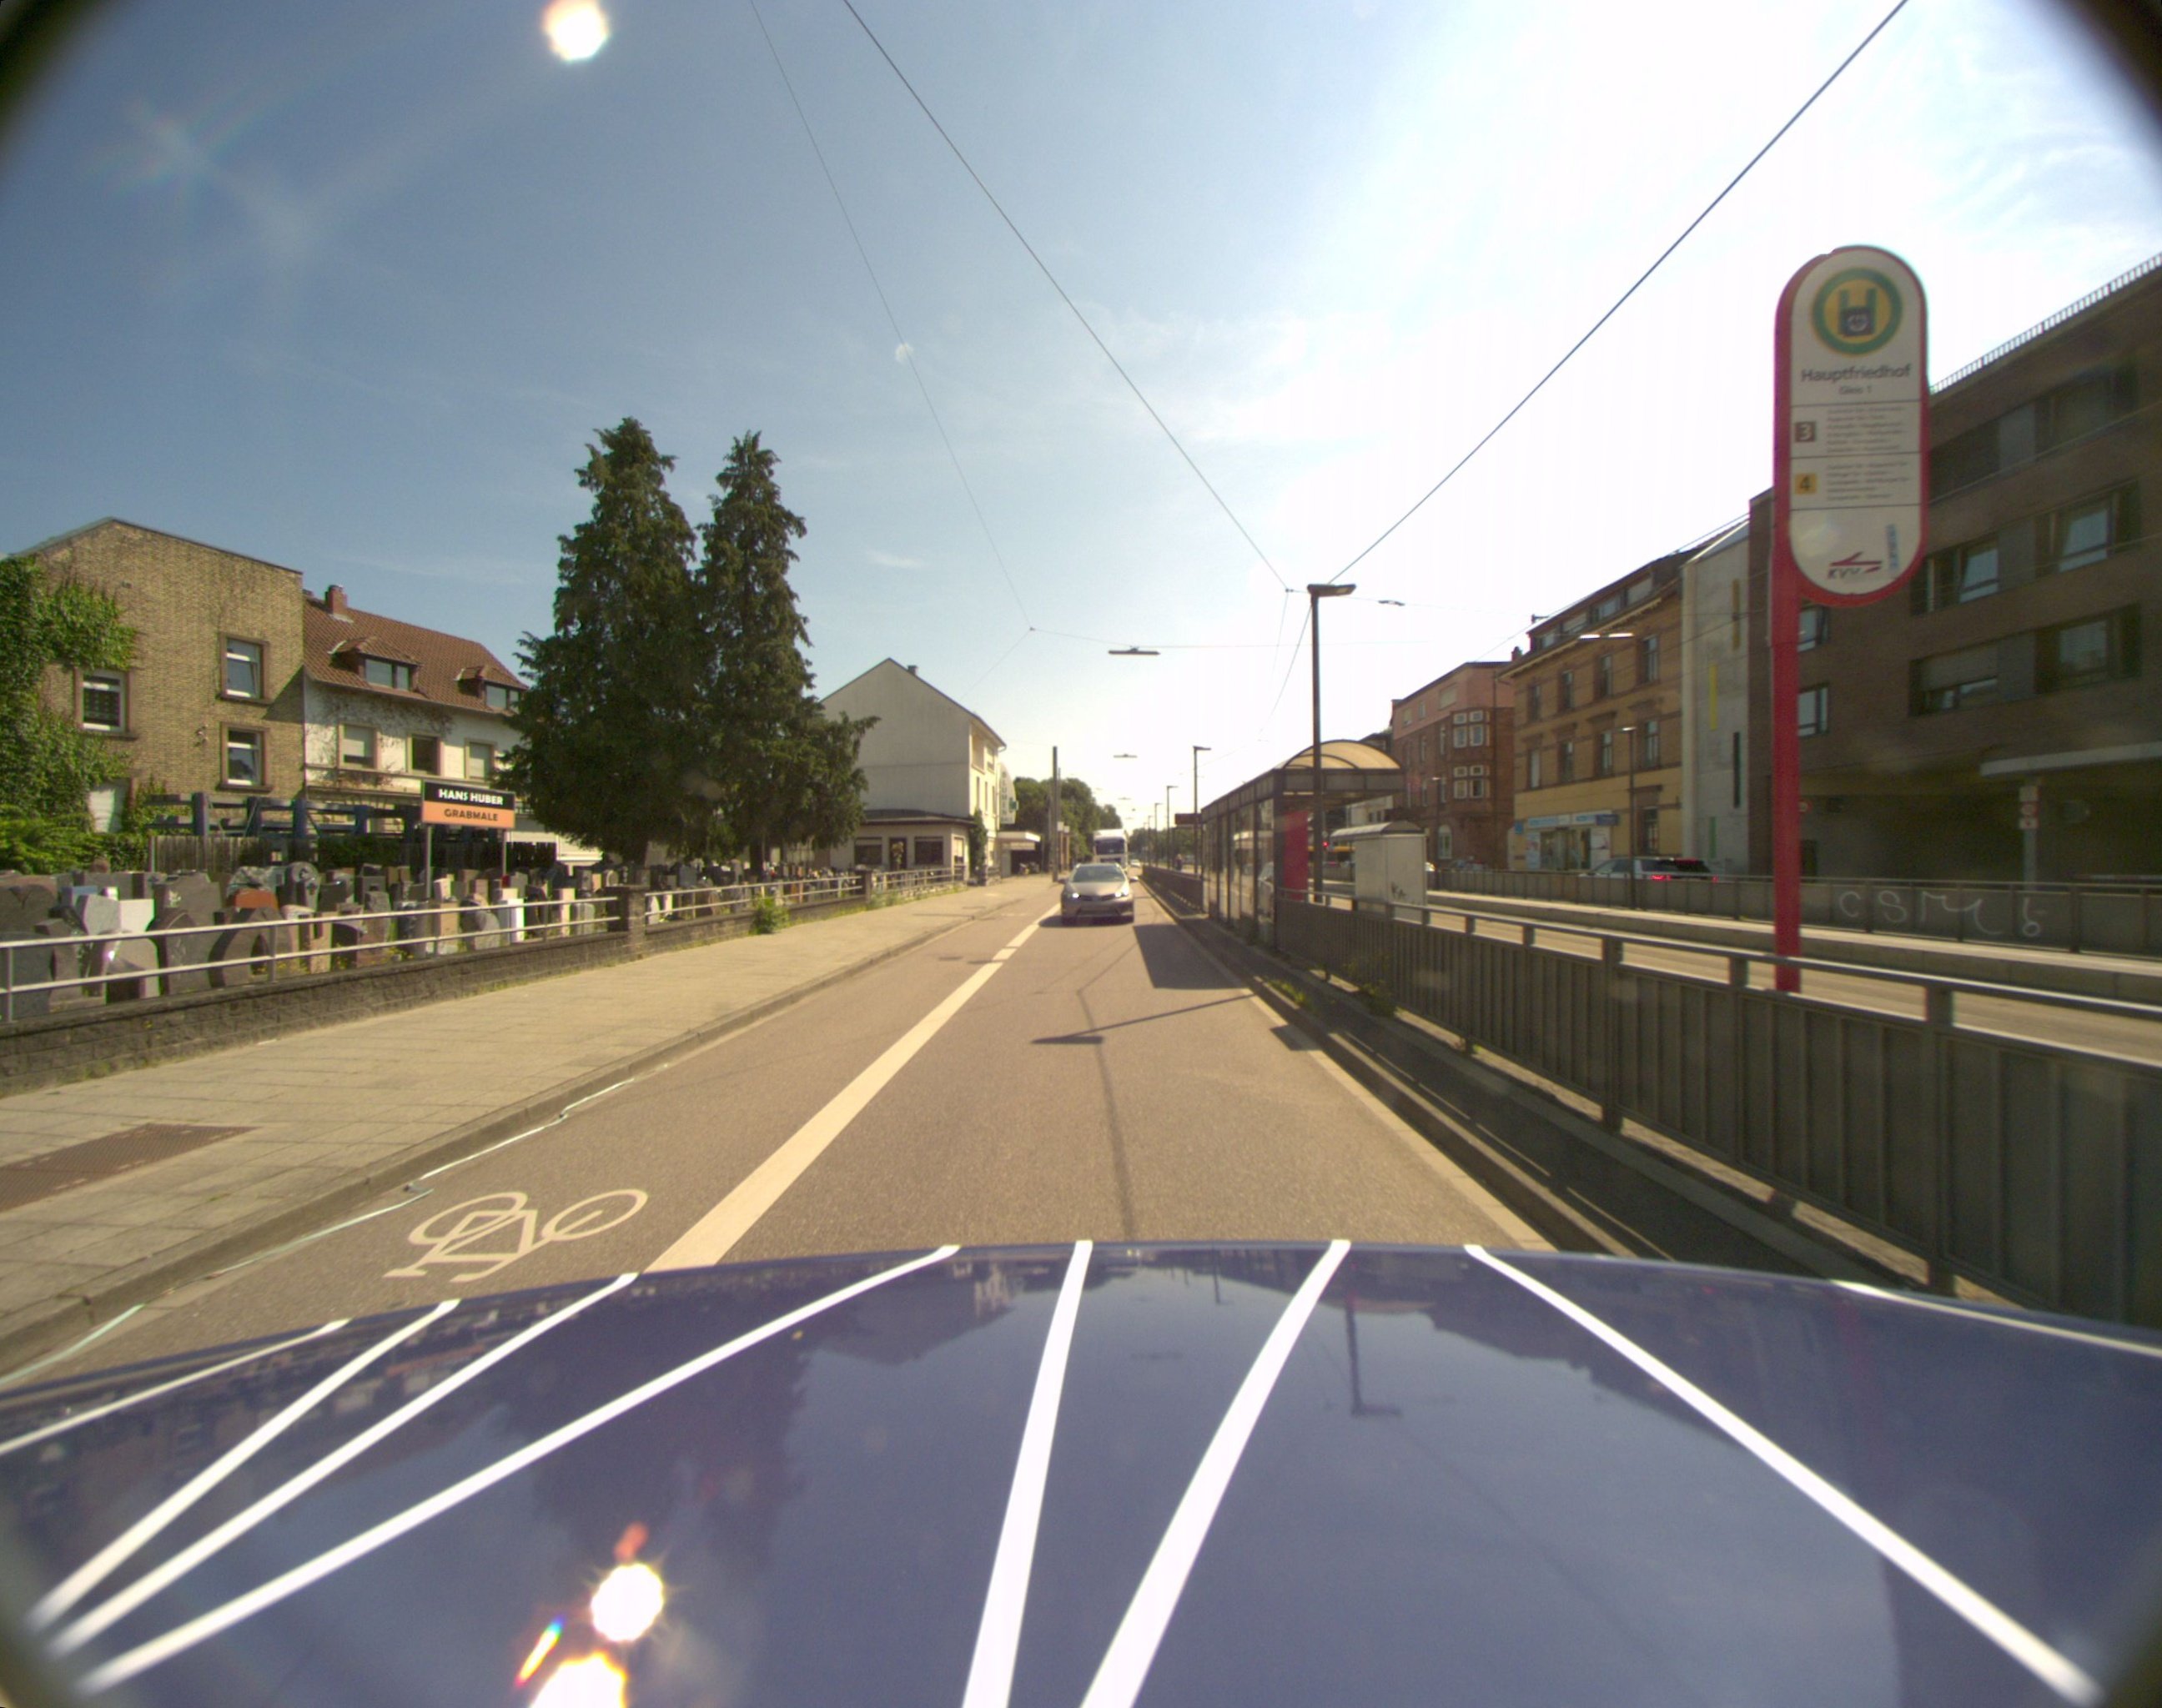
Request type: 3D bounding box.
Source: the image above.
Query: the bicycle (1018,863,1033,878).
[{"bbox_3d":[-4.226,1.266,57.768,0.511,1.127,1.693,0,0,20],"label":"bicycle"}]

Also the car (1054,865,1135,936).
[{"bbox_3d":[0.412,1.033,18.521,1.695,1.440,4.482,-1,0,3],"label":"car"}]

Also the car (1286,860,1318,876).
[{"bbox_3d":[19.112,1.187,65.828,1.716,1.236,4.080,-2,0,2],"label":"car"}]

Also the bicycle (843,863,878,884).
[{"bbox_3d":[-11.750,1.046,40.552,1.688,1.104,0.512,1,0,4],"label":"bicycle"}]

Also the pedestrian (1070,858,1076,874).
[{"bbox_3d":[-0.827,1.257,77.316,0.499,1.616,0.500,1,0,10],"label":"pedestrian"}]

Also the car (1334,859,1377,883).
[{"bbox_3d":[18.143,1.113,50.391,1.629,1.460,3.867,-1,-1,3],"label":"car"}]

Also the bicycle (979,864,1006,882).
[{"bbox_3d":[-5.425,1.170,46.607,1.530,1.051,0.398,3,0,4],"label":"bicycle"}]

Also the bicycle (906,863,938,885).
[{"bbox_3d":[-8.337,1.046,39.899,1.686,1.104,0.515,0,0,28],"label":"bicycle"}]

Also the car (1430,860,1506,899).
[{"bbox_3d":[17.430,1.116,34.408,1.716,1.613,3.580,-1,0,3],"label":"car"}]

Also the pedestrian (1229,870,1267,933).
[{"bbox_3d":[3.410,0.950,15.549,0.631,1.247,0.710,0,0,2],"label":"pedestrian"}]

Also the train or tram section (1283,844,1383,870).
[{"bbox_3d":[34.800,0.389,105.136,13.337,3.460,2.686,0,0,-8],"label":"train or tram section"}]

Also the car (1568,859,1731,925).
[{"bbox_3d":[16.605,1.031,22.495,1.805,1.718,4.190,-2,0,3],"label":"car"}]

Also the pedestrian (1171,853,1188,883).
[{"bbox_3d":[6.042,0.863,46.687,0.983,1.847,1.238,0,0,3],"label":"pedestrian"}]

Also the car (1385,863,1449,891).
[{"bbox_3d":[18.065,1.212,41.073,1.635,1.355,4.522,0,0,2],"label":"car"}]

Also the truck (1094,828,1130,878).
[{"bbox_3d":[2.543,-0.043,60.528,2.656,3.772,7.865,0,0,3],"label":"truck"}]
